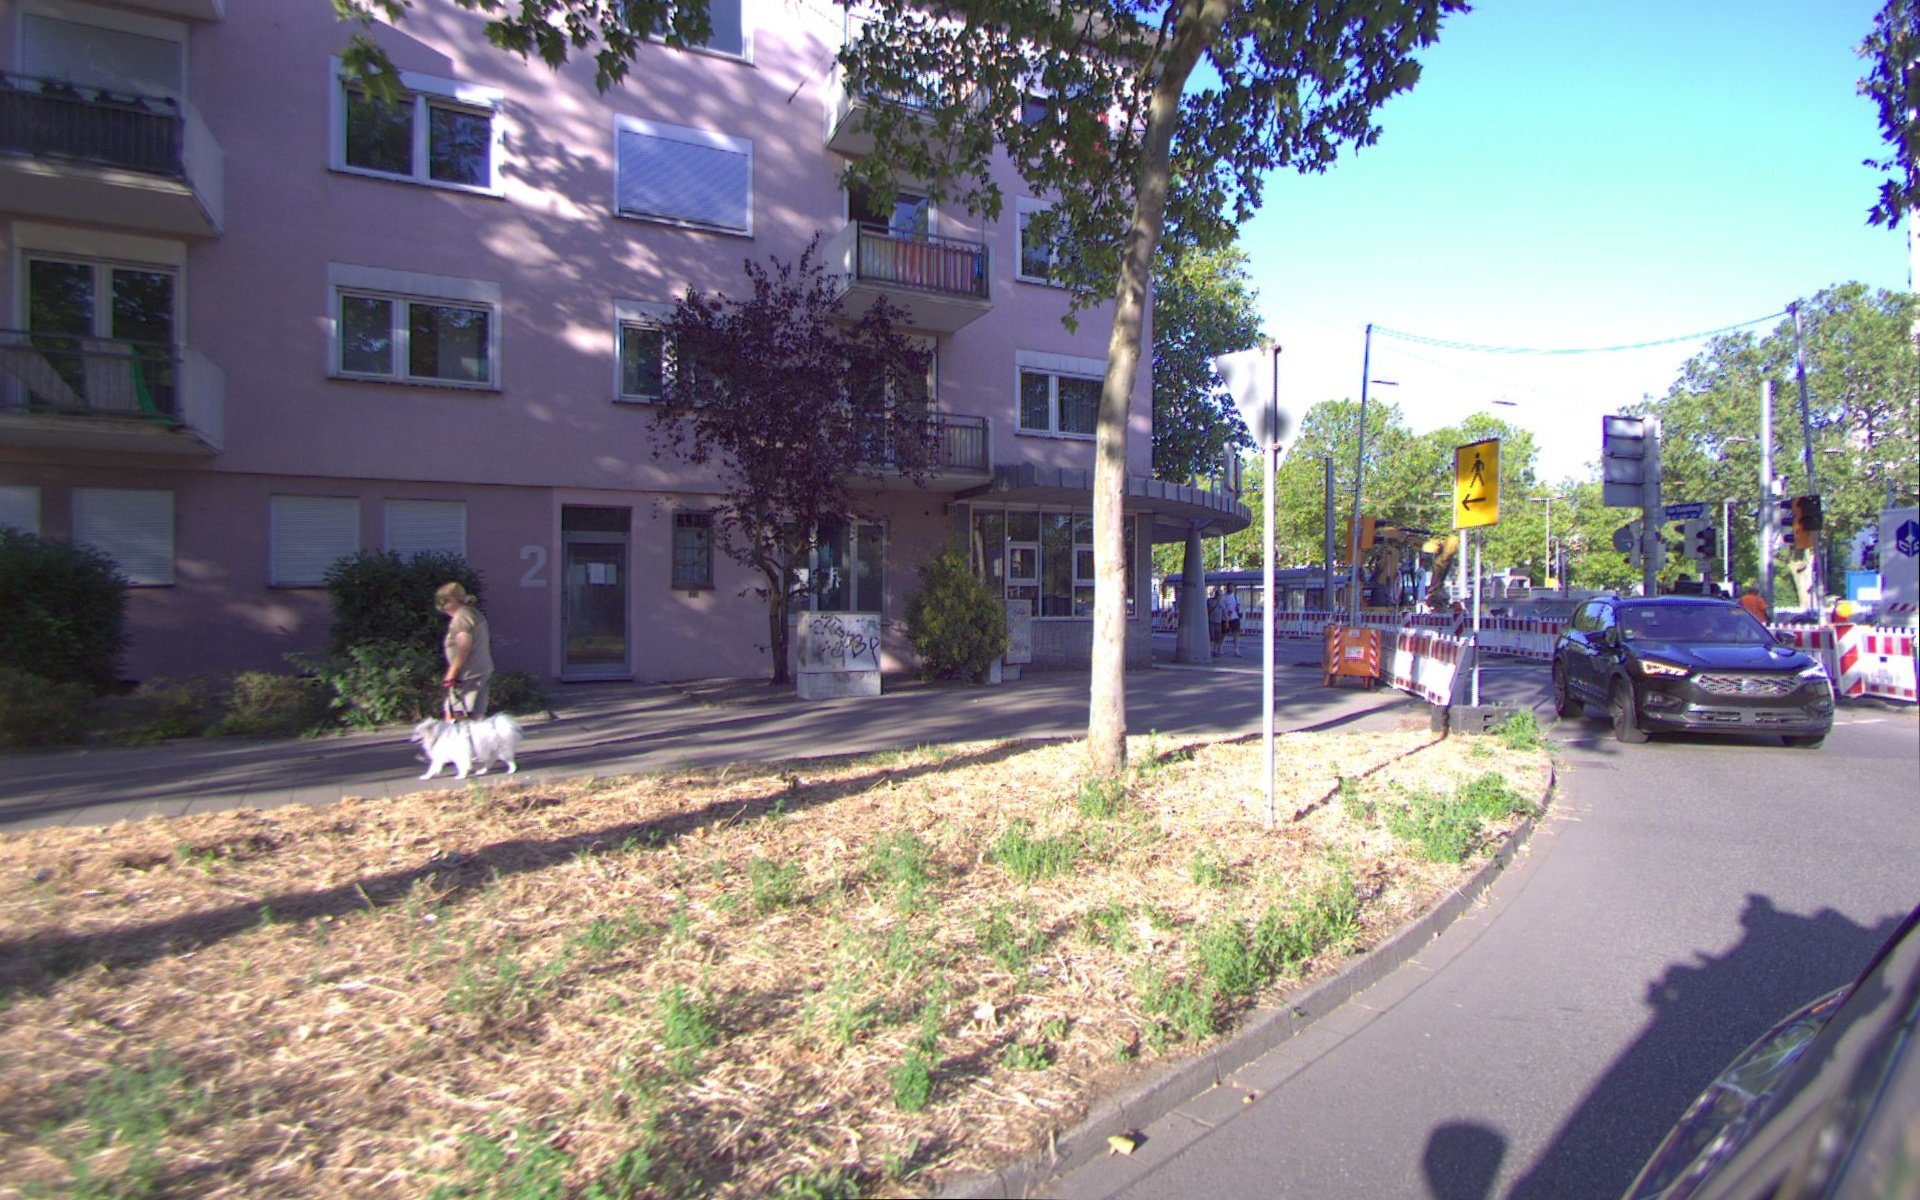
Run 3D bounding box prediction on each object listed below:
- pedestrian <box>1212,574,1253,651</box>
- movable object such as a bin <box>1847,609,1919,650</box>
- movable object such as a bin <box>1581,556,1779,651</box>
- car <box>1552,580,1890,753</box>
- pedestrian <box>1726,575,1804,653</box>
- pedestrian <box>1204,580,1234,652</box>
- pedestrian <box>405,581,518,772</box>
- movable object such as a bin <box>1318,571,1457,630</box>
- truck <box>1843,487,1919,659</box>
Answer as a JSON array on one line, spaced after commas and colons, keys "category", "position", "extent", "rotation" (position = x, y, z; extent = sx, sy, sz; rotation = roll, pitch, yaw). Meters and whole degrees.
[{"category": "pedestrian", "position": [7.075, 0.316, 26.279], "extent": [0.830, 1.893, 1.092], "rotation": [4, 1, 20]}, {"category": "movable object such as a bin", "position": [22.353, 0.683, 24.225], "extent": [0.916, 0.928, 1.423], "rotation": [0, 0, -19]}, {"category": "movable object such as a bin", "position": [19.439, 0.092, 27.684], "extent": [1.965, 2.285, 5.200], "rotation": [-2, 0, 5]}, {"category": "car", "position": [8.710, 0.644, 12.102], "extent": [1.974, 1.668, 4.178], "rotation": [-1, 0, 19]}, {"category": "pedestrian", "position": [19.359, 0.332, 24.362], "extent": [0.956, 1.821, 1.070], "rotation": [-1, 0, -4]}, {"category": "pedestrian", "position": [6.424, 0.394, 25.135], "extent": [0.574, 1.730, 0.678], "rotation": [2, -1, 5]}, {"category": "pedestrian", "position": [-4.172, 0.595, 8.452], "extent": [0.800, 1.493, 0.793], "rotation": [0, 0, -30]}, {"category": "movable object such as a bin", "position": [18.089, 0.031, 43.081], "extent": [2.597, 2.347, 4.909], "rotation": [-1, 0, -27]}, {"category": "truck", "position": [21.183, -0.564, 18.452], "extent": [2.771, 3.586, 8.972], "rotation": [0, 0, 4]}]
